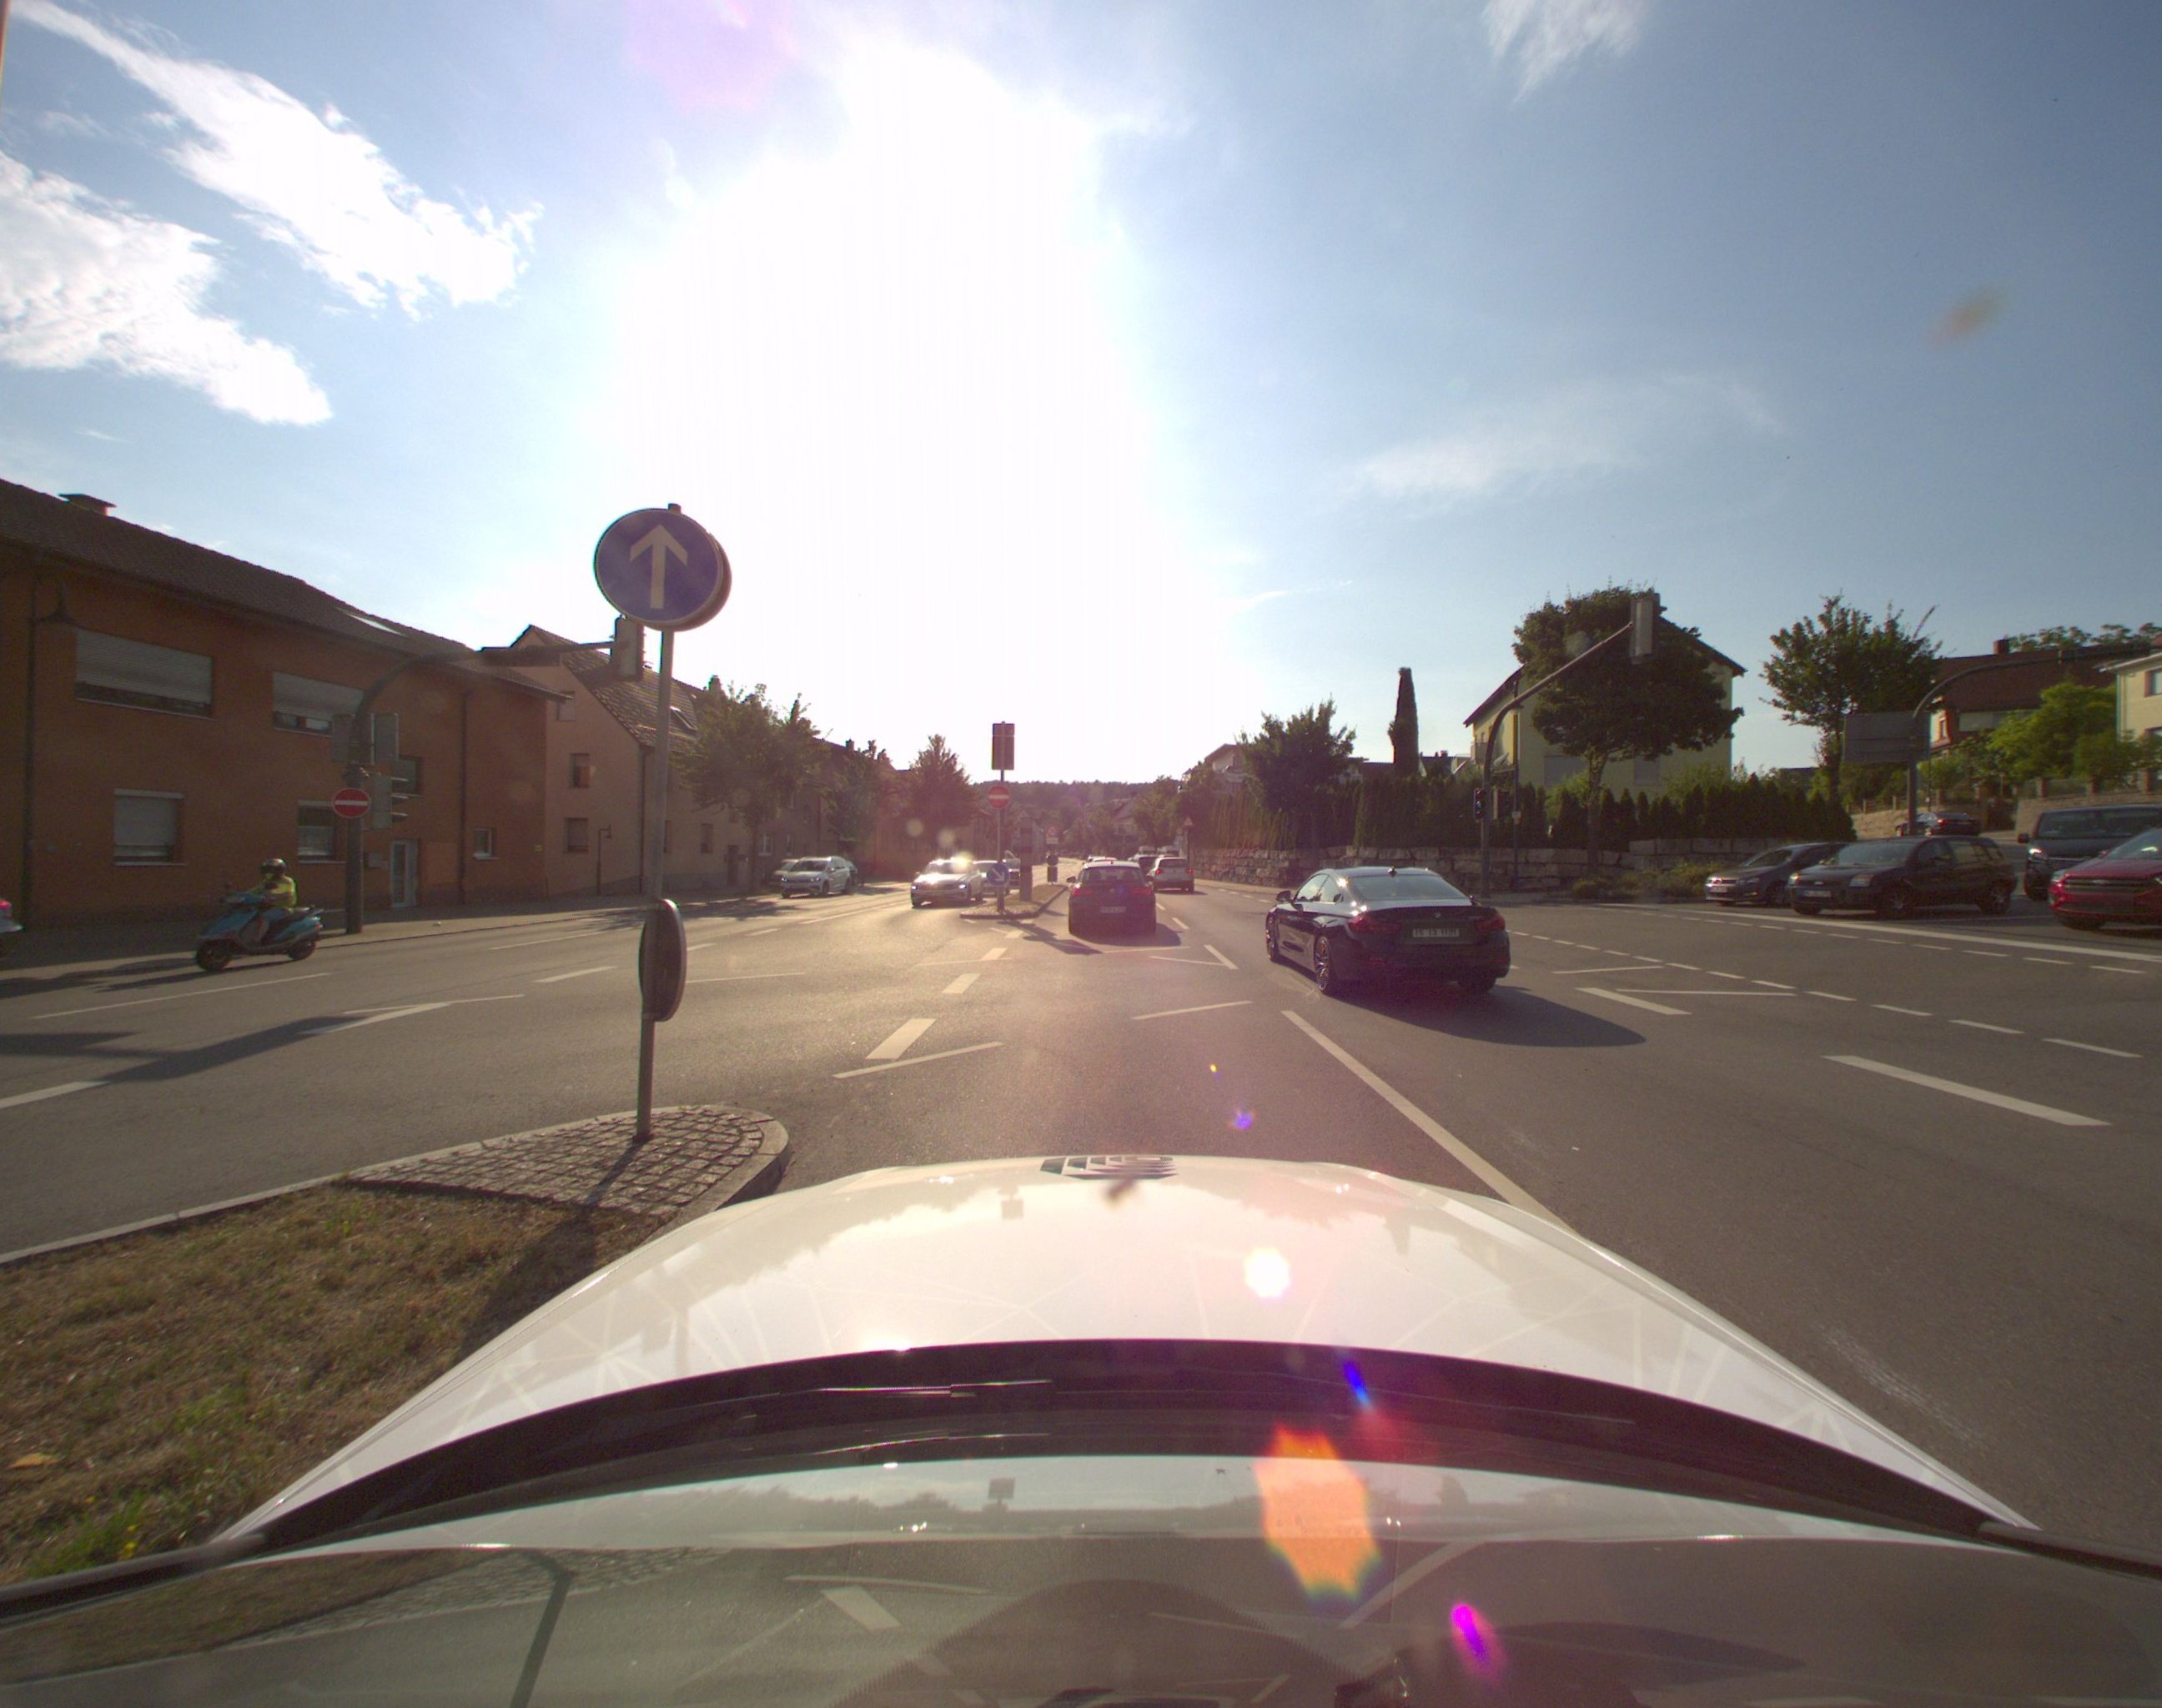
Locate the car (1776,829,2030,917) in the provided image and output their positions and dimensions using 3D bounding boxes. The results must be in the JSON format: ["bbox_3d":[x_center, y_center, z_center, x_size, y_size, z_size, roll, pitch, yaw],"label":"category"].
[{"bbox_3d":[15.982,0.337,15.904,3.786,1.542,1.593,-1,0,-10],"label":"car"}]

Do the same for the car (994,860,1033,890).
[{"bbox_3d":[-3.423,1.042,41.806,1.526,1.462,3.508,0,0,2],"label":"car"}]

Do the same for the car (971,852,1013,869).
[{"bbox_3d":[-13.519,0.984,124.114,6.139,2.444,2.249,1,0,-1],"label":"car"}]

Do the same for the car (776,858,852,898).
[{"bbox_3d":[-11.205,0.958,34.469,1.680,1.612,4.414,0,0,1],"label":"car"}]

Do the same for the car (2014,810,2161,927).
[{"bbox_3d":[17.082,0.191,12.266,4.232,1.626,1.859,0,0,-5],"label":"car"}]

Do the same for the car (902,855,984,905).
[{"bbox_3d":[-4.481,0.796,27.110,1.828,1.488,4.567,0,0,1],"label":"car"}]

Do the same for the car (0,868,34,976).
[{"bbox_3d":[-15.362,0.873,9.206,1.788,1.414,3.944,3,0,2],"label":"car"}]

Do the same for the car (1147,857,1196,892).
[{"bbox_3d":[3.842,0.836,34.973,1.748,1.414,3.422,0,0,1],"label":"car"}]

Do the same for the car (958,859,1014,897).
[{"bbox_3d":[-3.787,0.946,32.947,1.582,1.427,3.581,0,-1,4],"label":"car"}]

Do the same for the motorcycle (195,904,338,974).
[{"bbox_3d":[-12.275,1.251,12.352,0.411,0.860,1.763,0,0,0],"label":"motorcycle"}]

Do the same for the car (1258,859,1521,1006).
[{"bbox_3d":[3.478,0.780,10.084,1.694,1.369,4.263,-1,0,1],"label":"car"}]

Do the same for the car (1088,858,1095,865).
[{"bbox_3d":[2.446,1.743,190.974,1.592,1.485,3.472,1,0,-1],"label":"car"}]

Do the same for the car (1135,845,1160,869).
[{"bbox_3d":[7.685,0.311,94.371,2.144,2.680,6.598,0,0,-2],"label":"car"}]

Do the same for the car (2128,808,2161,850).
[{"bbox_3d":[38.480,-0.875,27.753,1.845,1.494,4.023,0,0,26],"label":"car"}]

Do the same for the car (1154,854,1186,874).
[{"bbox_3d":[7.899,0.882,72.869,1.833,1.649,4.526,0,0,-8],"label":"car"}]

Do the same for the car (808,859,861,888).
[{"bbox_3d":[-13.464,1.024,44.706,1.613,1.510,4.132,0,0,0],"label":"car"}]

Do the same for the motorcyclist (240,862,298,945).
[{"bbox_3d":[-12.271,0.738,12.313,0.402,1.229,0.461,0,0,-2],"label":"motorcyclist"}]

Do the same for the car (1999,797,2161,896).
[{"bbox_3d":[22.454,-0.152,18.107,5.198,1.932,1.979,0,0,-33],"label":"car"}]

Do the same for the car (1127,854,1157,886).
[{"bbox_3d":[3.549,0.900,47.481,1.597,1.767,3.412,0,0,2],"label":"car"}]

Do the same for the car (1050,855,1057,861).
[{"bbox_3d":[-6.900,0.960,203.059,1.592,1.485,3.472,1,0,-1],"label":"car"}]

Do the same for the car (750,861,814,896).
[{"bbox_3d":[-14.069,1.115,38.525,1.507,1.510,3.886,2,0,0],"label":"car"}]

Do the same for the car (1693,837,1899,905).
[{"bbox_3d":[17.108,0.400,19.583,3.590,1.450,1.625,-2,-1,-3],"label":"car"}]

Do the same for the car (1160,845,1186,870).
[{"bbox_3d":[10.589,0.385,94.563,2.106,2.722,6.438,0,0,-2],"label":"car"}]

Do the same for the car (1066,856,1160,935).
[{"bbox_3d":[0.637,0.802,17.396,1.765,1.456,3.516,-1,0,1],"label":"car"}]

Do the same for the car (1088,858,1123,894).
[{"bbox_3d":[1.123,0.979,38.193,1.586,1.600,3.894,0,0,1],"label":"car"}]

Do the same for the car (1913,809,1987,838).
[{"bbox_3d":[45.170,-1.554,42.412,1.794,1.344,4.025,0,0,35],"label":"car"}]
